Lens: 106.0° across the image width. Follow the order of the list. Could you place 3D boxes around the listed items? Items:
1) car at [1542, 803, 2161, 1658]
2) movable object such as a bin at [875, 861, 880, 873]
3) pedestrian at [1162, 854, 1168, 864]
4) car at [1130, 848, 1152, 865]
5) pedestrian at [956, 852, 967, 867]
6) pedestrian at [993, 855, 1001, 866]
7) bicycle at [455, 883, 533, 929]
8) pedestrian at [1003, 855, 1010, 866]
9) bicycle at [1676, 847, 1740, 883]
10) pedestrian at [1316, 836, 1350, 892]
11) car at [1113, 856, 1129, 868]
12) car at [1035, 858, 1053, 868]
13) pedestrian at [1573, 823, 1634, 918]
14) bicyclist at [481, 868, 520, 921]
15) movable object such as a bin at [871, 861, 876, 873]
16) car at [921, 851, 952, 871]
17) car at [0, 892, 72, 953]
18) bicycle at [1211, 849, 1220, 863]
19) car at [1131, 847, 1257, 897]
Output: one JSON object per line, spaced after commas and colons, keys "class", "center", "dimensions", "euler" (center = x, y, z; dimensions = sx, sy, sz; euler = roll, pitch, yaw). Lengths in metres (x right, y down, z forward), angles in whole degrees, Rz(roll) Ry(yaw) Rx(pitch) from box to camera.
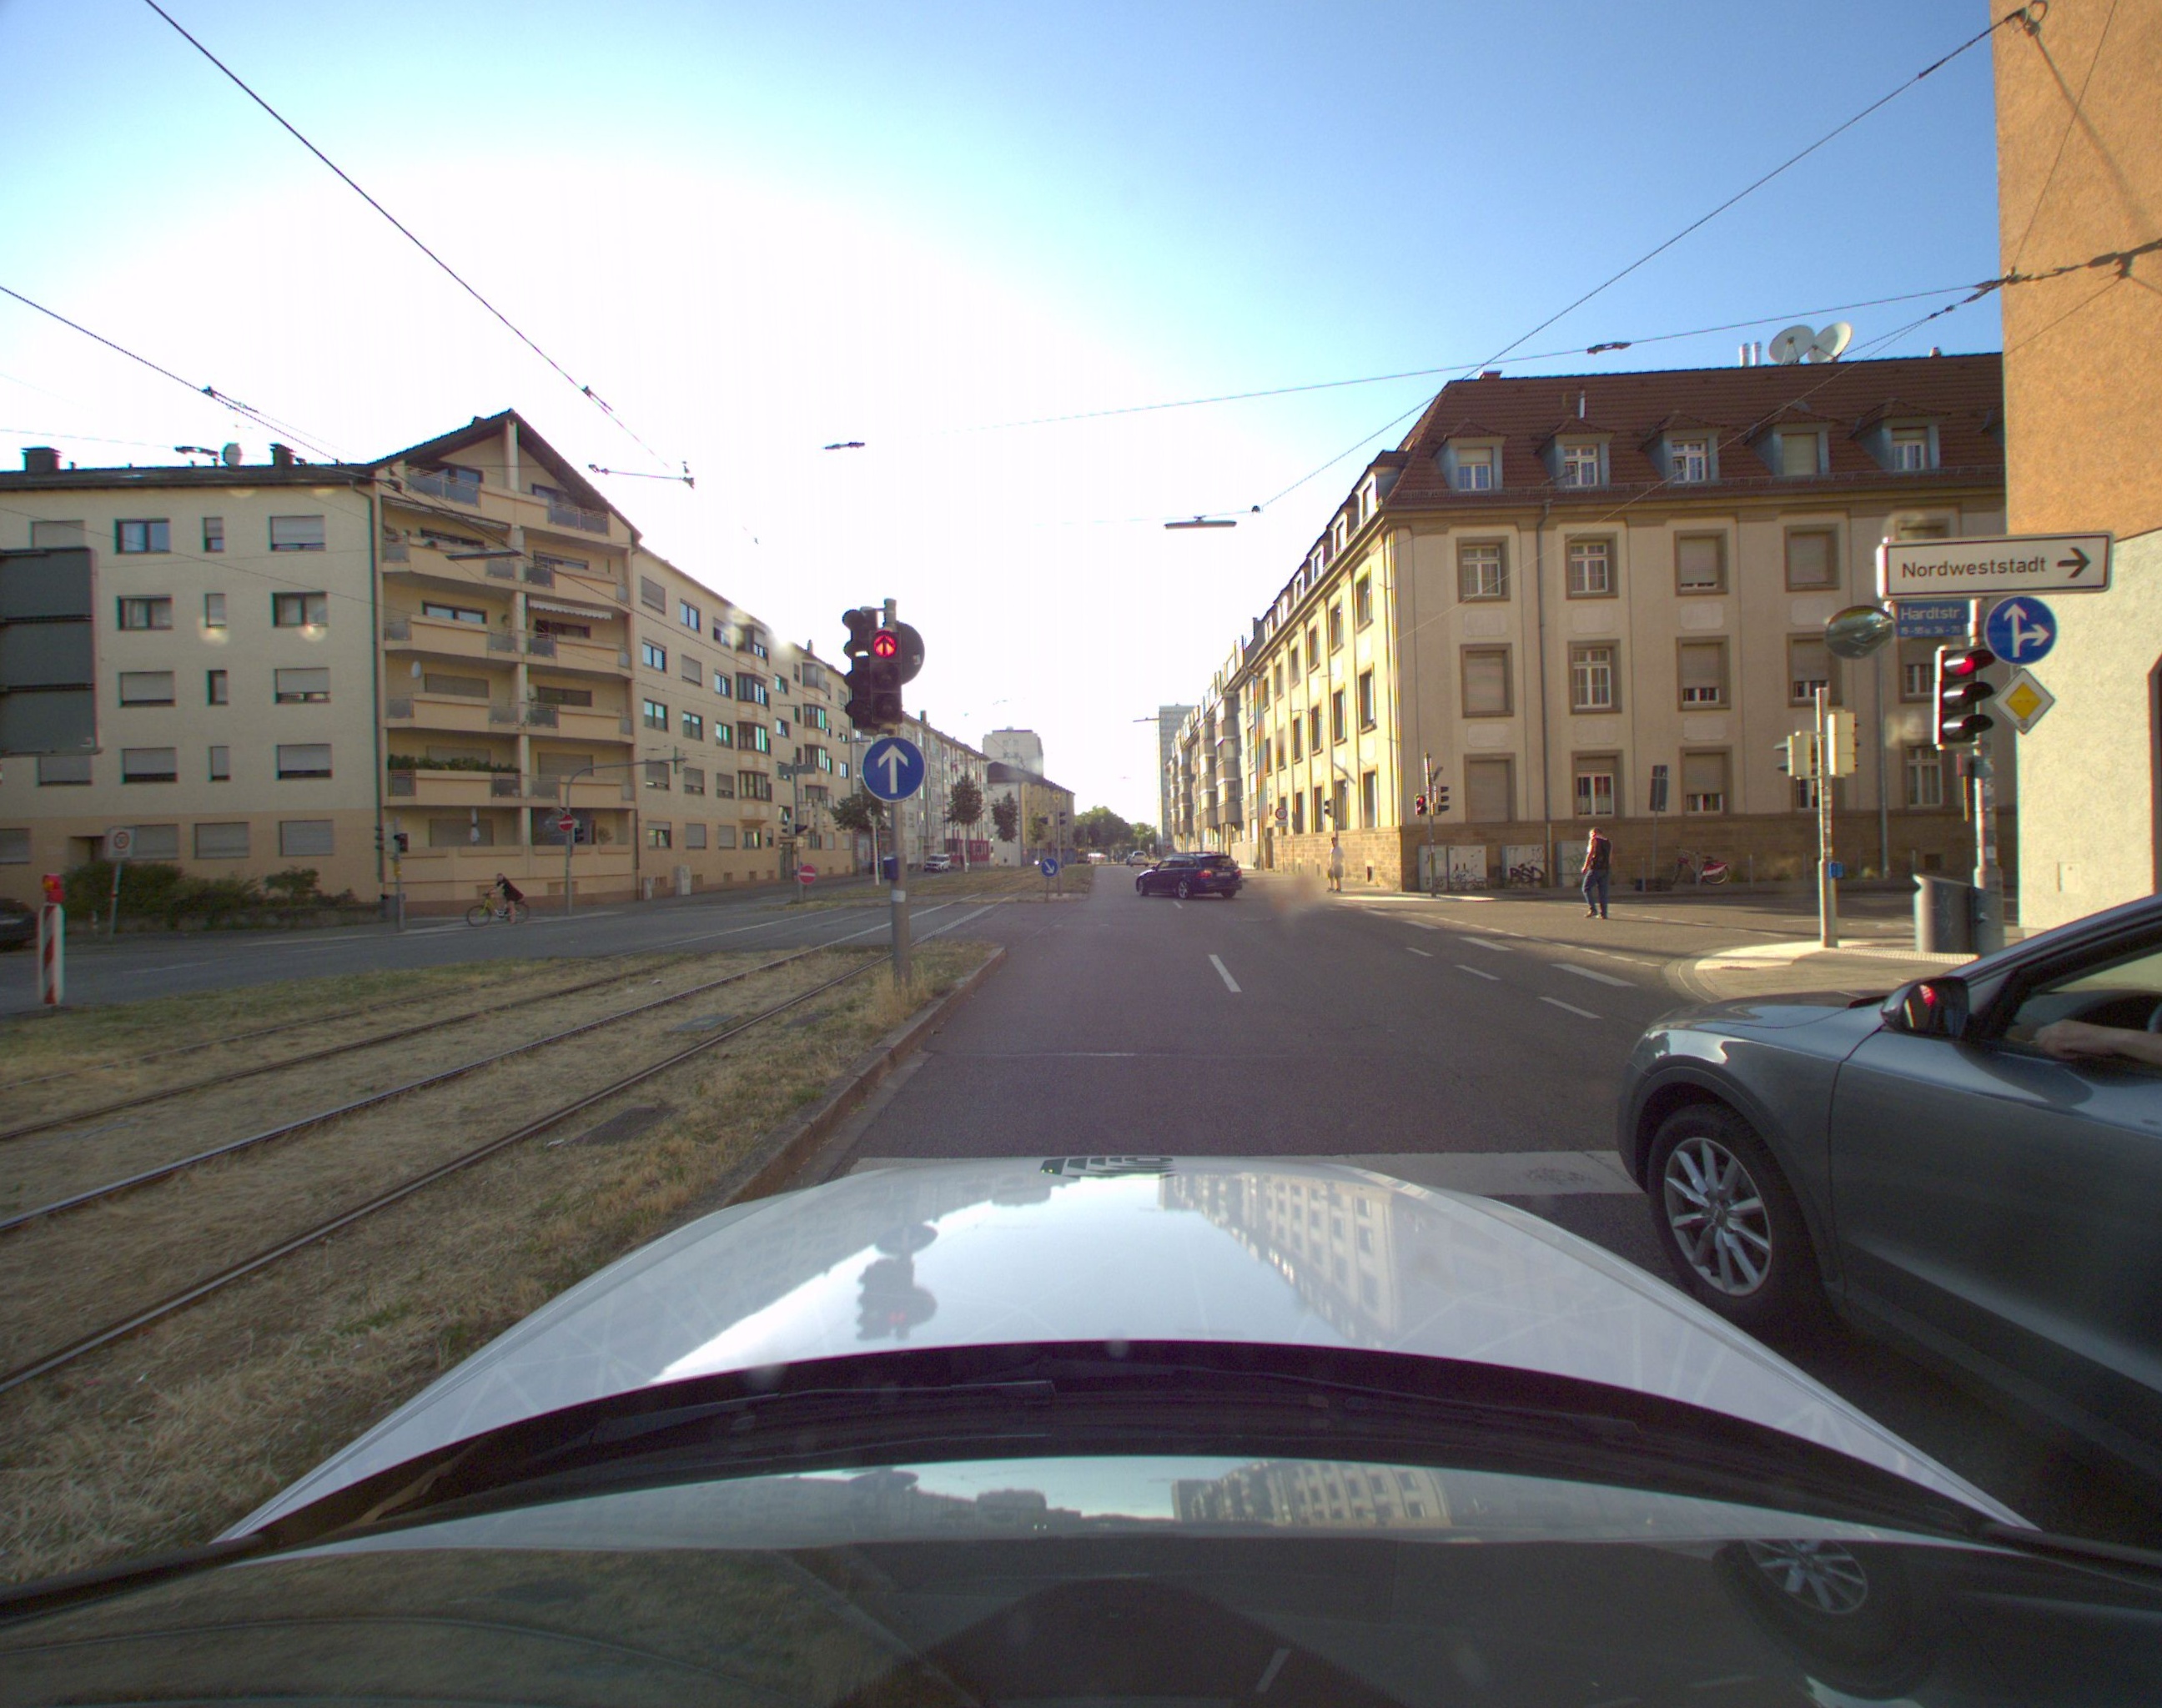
{"class": "car", "center": [2.810, 0.686, 1.465], "dimensions": [1.691, 1.552, 4.227], "euler": [0, 0, 2]}
{"class": "movable object such as a bin", "center": [-17.343, 1.102, 69.413], "dimensions": [0.297, 1.036, 0.441], "euler": [0, -1, 1]}
{"class": "pedestrian", "center": [11.362, 0.678, 110.659], "dimensions": [0.686, 1.234, 0.739], "euler": [-1, -1, 13]}
{"class": "car", "center": [5.808, 0.275, 79.436], "dimensions": [1.986, 1.564, 4.002], "euler": [0, -1, 2]}
{"class": "pedestrian", "center": [-14.429, 0.641, 98.211], "dimensions": [1.268, 1.761, 1.271], "euler": [0, -1, -8]}
{"class": "pedestrian", "center": [-12.685, 0.968, 123.127], "dimensions": [0.957, 1.694, 1.013], "euler": [-1, -1, 7]}
{"class": "bicycle", "center": [-18.198, 1.584, 25.295], "dimensions": [0.450, 1.257, 1.883], "euler": [-1, 1, 34]}
{"class": "pedestrian", "center": [-11.308, 0.963, 123.803], "dimensions": [0.957, 1.670, 1.013], "euler": [-1, -1, 7]}
{"class": "bicycle", "center": [18.458, 0.327, 23.998], "dimensions": [1.491, 1.018, 0.251], "euler": [-1, -1, 17]}
{"class": "pedestrian", "center": [8.086, 0.316, 26.188], "dimensions": [0.832, 1.762, 0.824], "euler": [0, -1, 1]}
{"class": "car", "center": [5.297, 1.118, 108.325], "dimensions": [1.986, 1.554, 4.394], "euler": [0, -1, 1]}
{"class": "car", "center": [-6.029, 1.466, 133.656], "dimensions": [1.886, 1.633, 4.759], "euler": [-2, 0, 9]}
{"class": "pedestrian", "center": [9.998, 0.308, 15.608], "dimensions": [0.627, 1.758, 0.826], "euler": [0, -1, 1]}
{"class": "bicyclist", "center": [-18.138, 1.258, 25.443], "dimensions": [0.620, 1.586, 0.814], "euler": [-1, 0, 35]}
{"class": "movable object such as a bin", "center": [-17.561, 1.111, 68.876], "dimensions": [0.297, 1.036, 0.442], "euler": [0, -1, 2]}
{"class": "car", "center": [-14.538, 0.704, 82.102], "dimensions": [1.984, 1.925, 4.548], "euler": [0, -1, 5]}
{"class": "car", "center": [-30.129, 1.908, 21.526], "dimensions": [3.983, 1.442, 1.996], "euler": [-2, 2, -7]}
{"class": "bicycle", "center": [10.229, 0.155, 61.872], "dimensions": [0.382, 1.096, 1.503], "euler": [-2, -1, 0]}
{"class": "car", "center": [3.511, 0.556, 26.146], "dimensions": [1.937, 1.456, 4.289], "euler": [0, -1, -27]}
